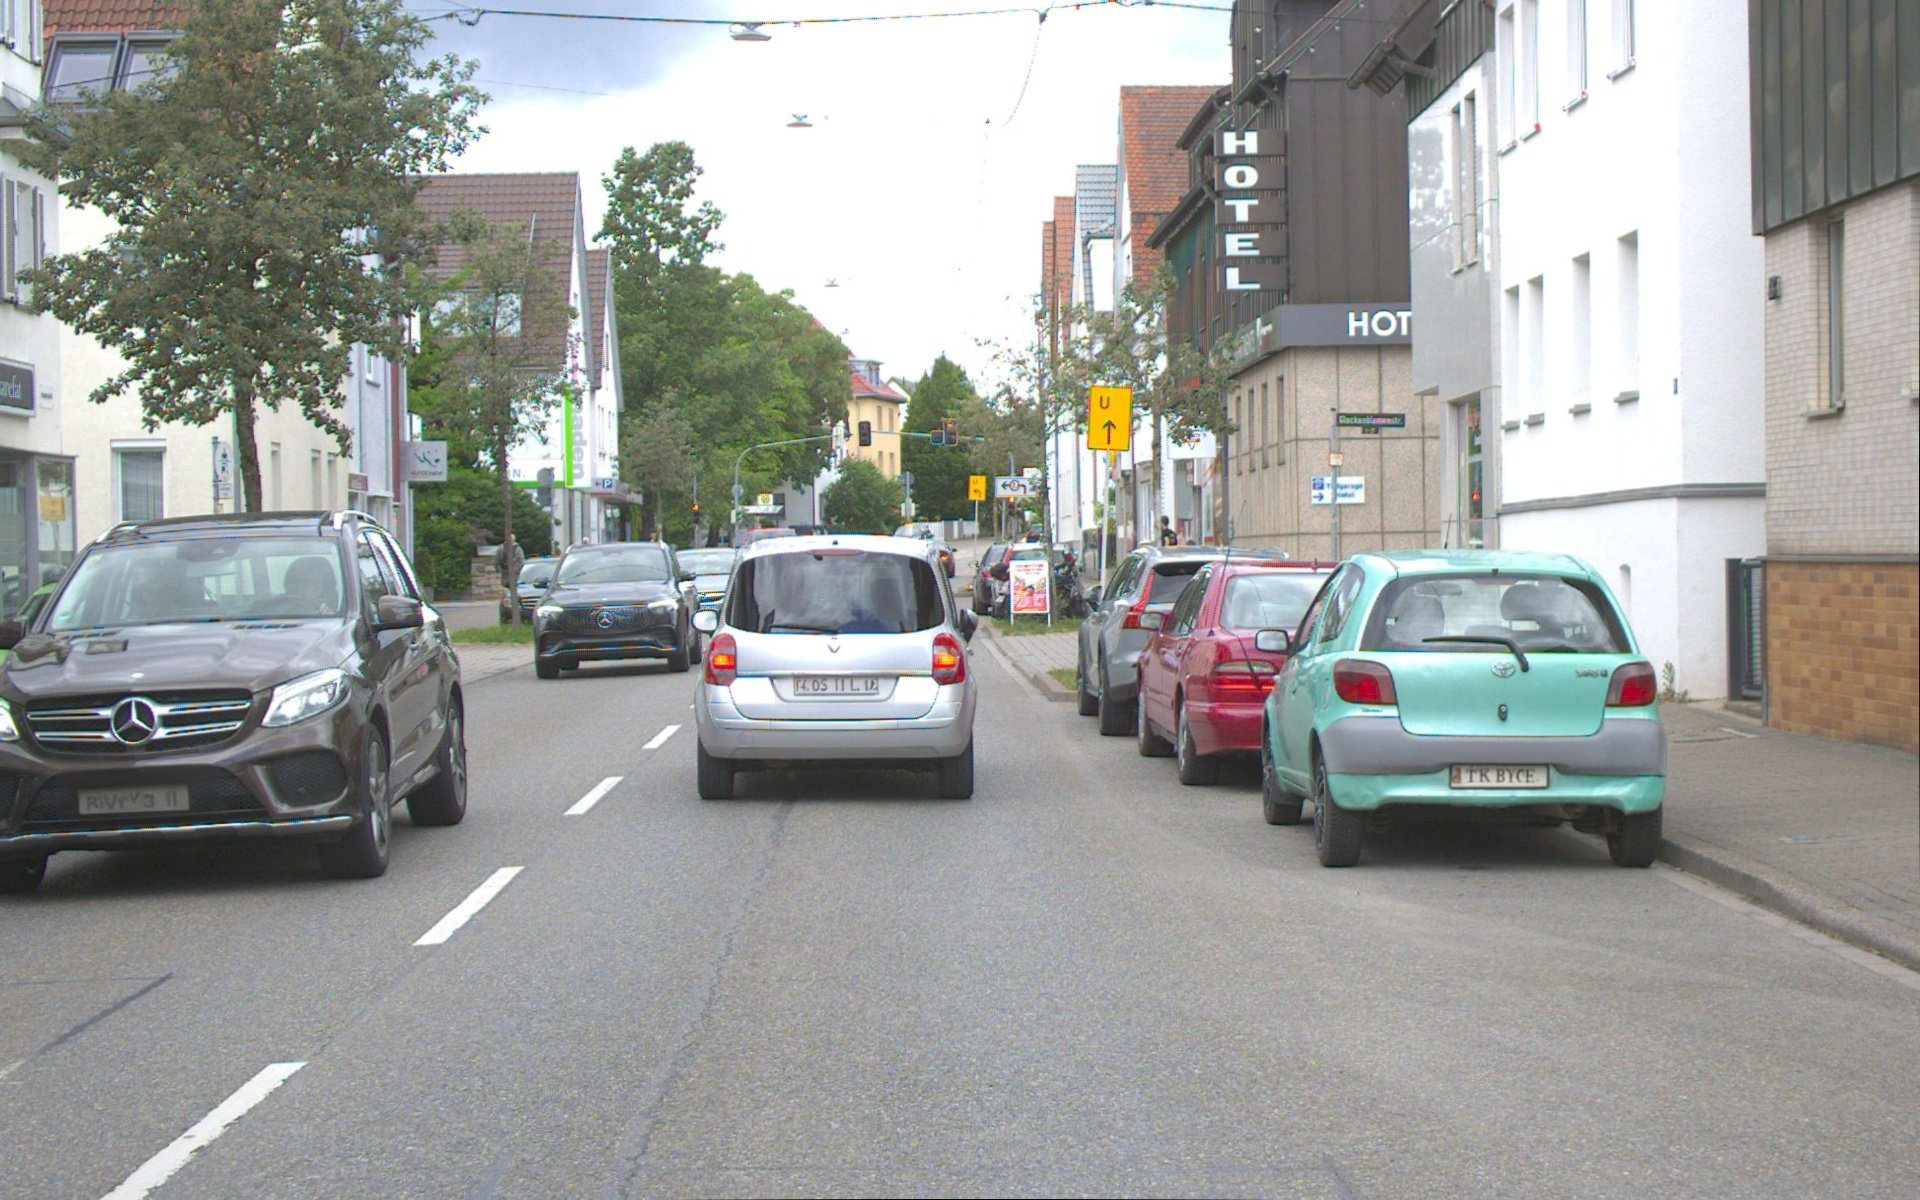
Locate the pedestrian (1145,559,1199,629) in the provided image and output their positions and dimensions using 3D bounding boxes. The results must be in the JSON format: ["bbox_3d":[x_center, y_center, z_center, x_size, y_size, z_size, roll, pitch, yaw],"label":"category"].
[{"bbox_3d":[4.165,-0.128,67.506,0.887,1.296,0.966,-4,1,-1],"label":"pedestrian"}]

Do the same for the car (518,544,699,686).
[{"bbox_3d":[-4.259,0.142,42.147,1.794,1.573,4.192,-3,1,-1],"label":"car"}]

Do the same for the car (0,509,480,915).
[{"bbox_3d":[-3.692,0.471,17.335,1.900,1.731,4.366,-2,1,0],"label":"car"}]

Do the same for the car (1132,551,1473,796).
[{"bbox_3d":[2.148,0.406,22.660,1.755,1.441,4.455,0,1,0],"label":"car"}]

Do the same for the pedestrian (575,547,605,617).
[{"bbox_3d":[-10.001,-0.484,92.956,0.762,1.869,0.696,0,1,-1],"label":"pedestrian"}]

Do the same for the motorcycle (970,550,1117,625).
[{"bbox_3d":[1.528,-0.231,62.577,2.707,1.331,0.700,0,1,-31],"label":"motorcycle"}]

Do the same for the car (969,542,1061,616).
[{"bbox_3d":[1.100,-0.442,70.531,1.700,1.462,4.239,0,1,-2],"label":"car"}]

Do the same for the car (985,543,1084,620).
[{"bbox_3d":[1.395,-0.369,65.723,1.700,1.425,3.891,0,1,-2],"label":"car"}]

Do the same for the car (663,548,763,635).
[{"bbox_3d":[-4.426,-0.172,61.819,1.682,1.442,4.021,-2,1,-4],"label":"car"}]

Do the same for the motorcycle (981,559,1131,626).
[{"bbox_3d":[1.725,-0.141,61.535,2.728,1.179,0.700,0,1,-31],"label":"motorcycle"}]

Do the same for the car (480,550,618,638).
[{"bbox_3d":[-7.453,-0.135,62.684,1.948,1.462,4.516,-3,1,-1],"label":"car"}]

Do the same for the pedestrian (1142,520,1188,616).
[{"bbox_3d":[4.123,-0.653,69.282,0.857,1.921,0.900,0,1,-1],"label":"pedestrian"}]

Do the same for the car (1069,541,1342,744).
[{"bbox_3d":[1.932,0.295,28.365,1.875,1.534,4.513,0,1,-1],"label":"car"}]

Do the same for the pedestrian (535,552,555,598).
[{"bbox_3d":[-11.527,-0.693,95.535,0.492,1.273,0.588,0,1,-1],"label":"pedestrian"}]

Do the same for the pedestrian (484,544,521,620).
[{"bbox_3d":[-10.762,-0.432,80.894,0.762,1.785,0.890,0,1,-1],"label":"pedestrian"}]

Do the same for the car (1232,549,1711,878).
[{"bbox_3d":[2.503,0.494,17.762,1.831,1.492,3.993,0,1,0],"label":"car"}]

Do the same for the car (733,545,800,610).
[{"bbox_3d":[-6.125,-0.732,109.157,1.952,2.007,4.000,0,1,-1],"label":"car"}]

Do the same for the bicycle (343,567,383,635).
[{"bbox_3d":[-10.281,0.012,59.235,0.514,1.149,1.666,0,1,-4],"label":"bicycle"}]

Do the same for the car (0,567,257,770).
[{"bbox_3d":[-6.922,0.501,27.536,1.682,1.442,4.020,-2,1,0],"label":"car"}]

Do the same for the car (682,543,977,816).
[{"bbox_3d":[-0.768,0.429,21.782,1.682,1.560,3.993,0,1,0],"label":"car"}]
